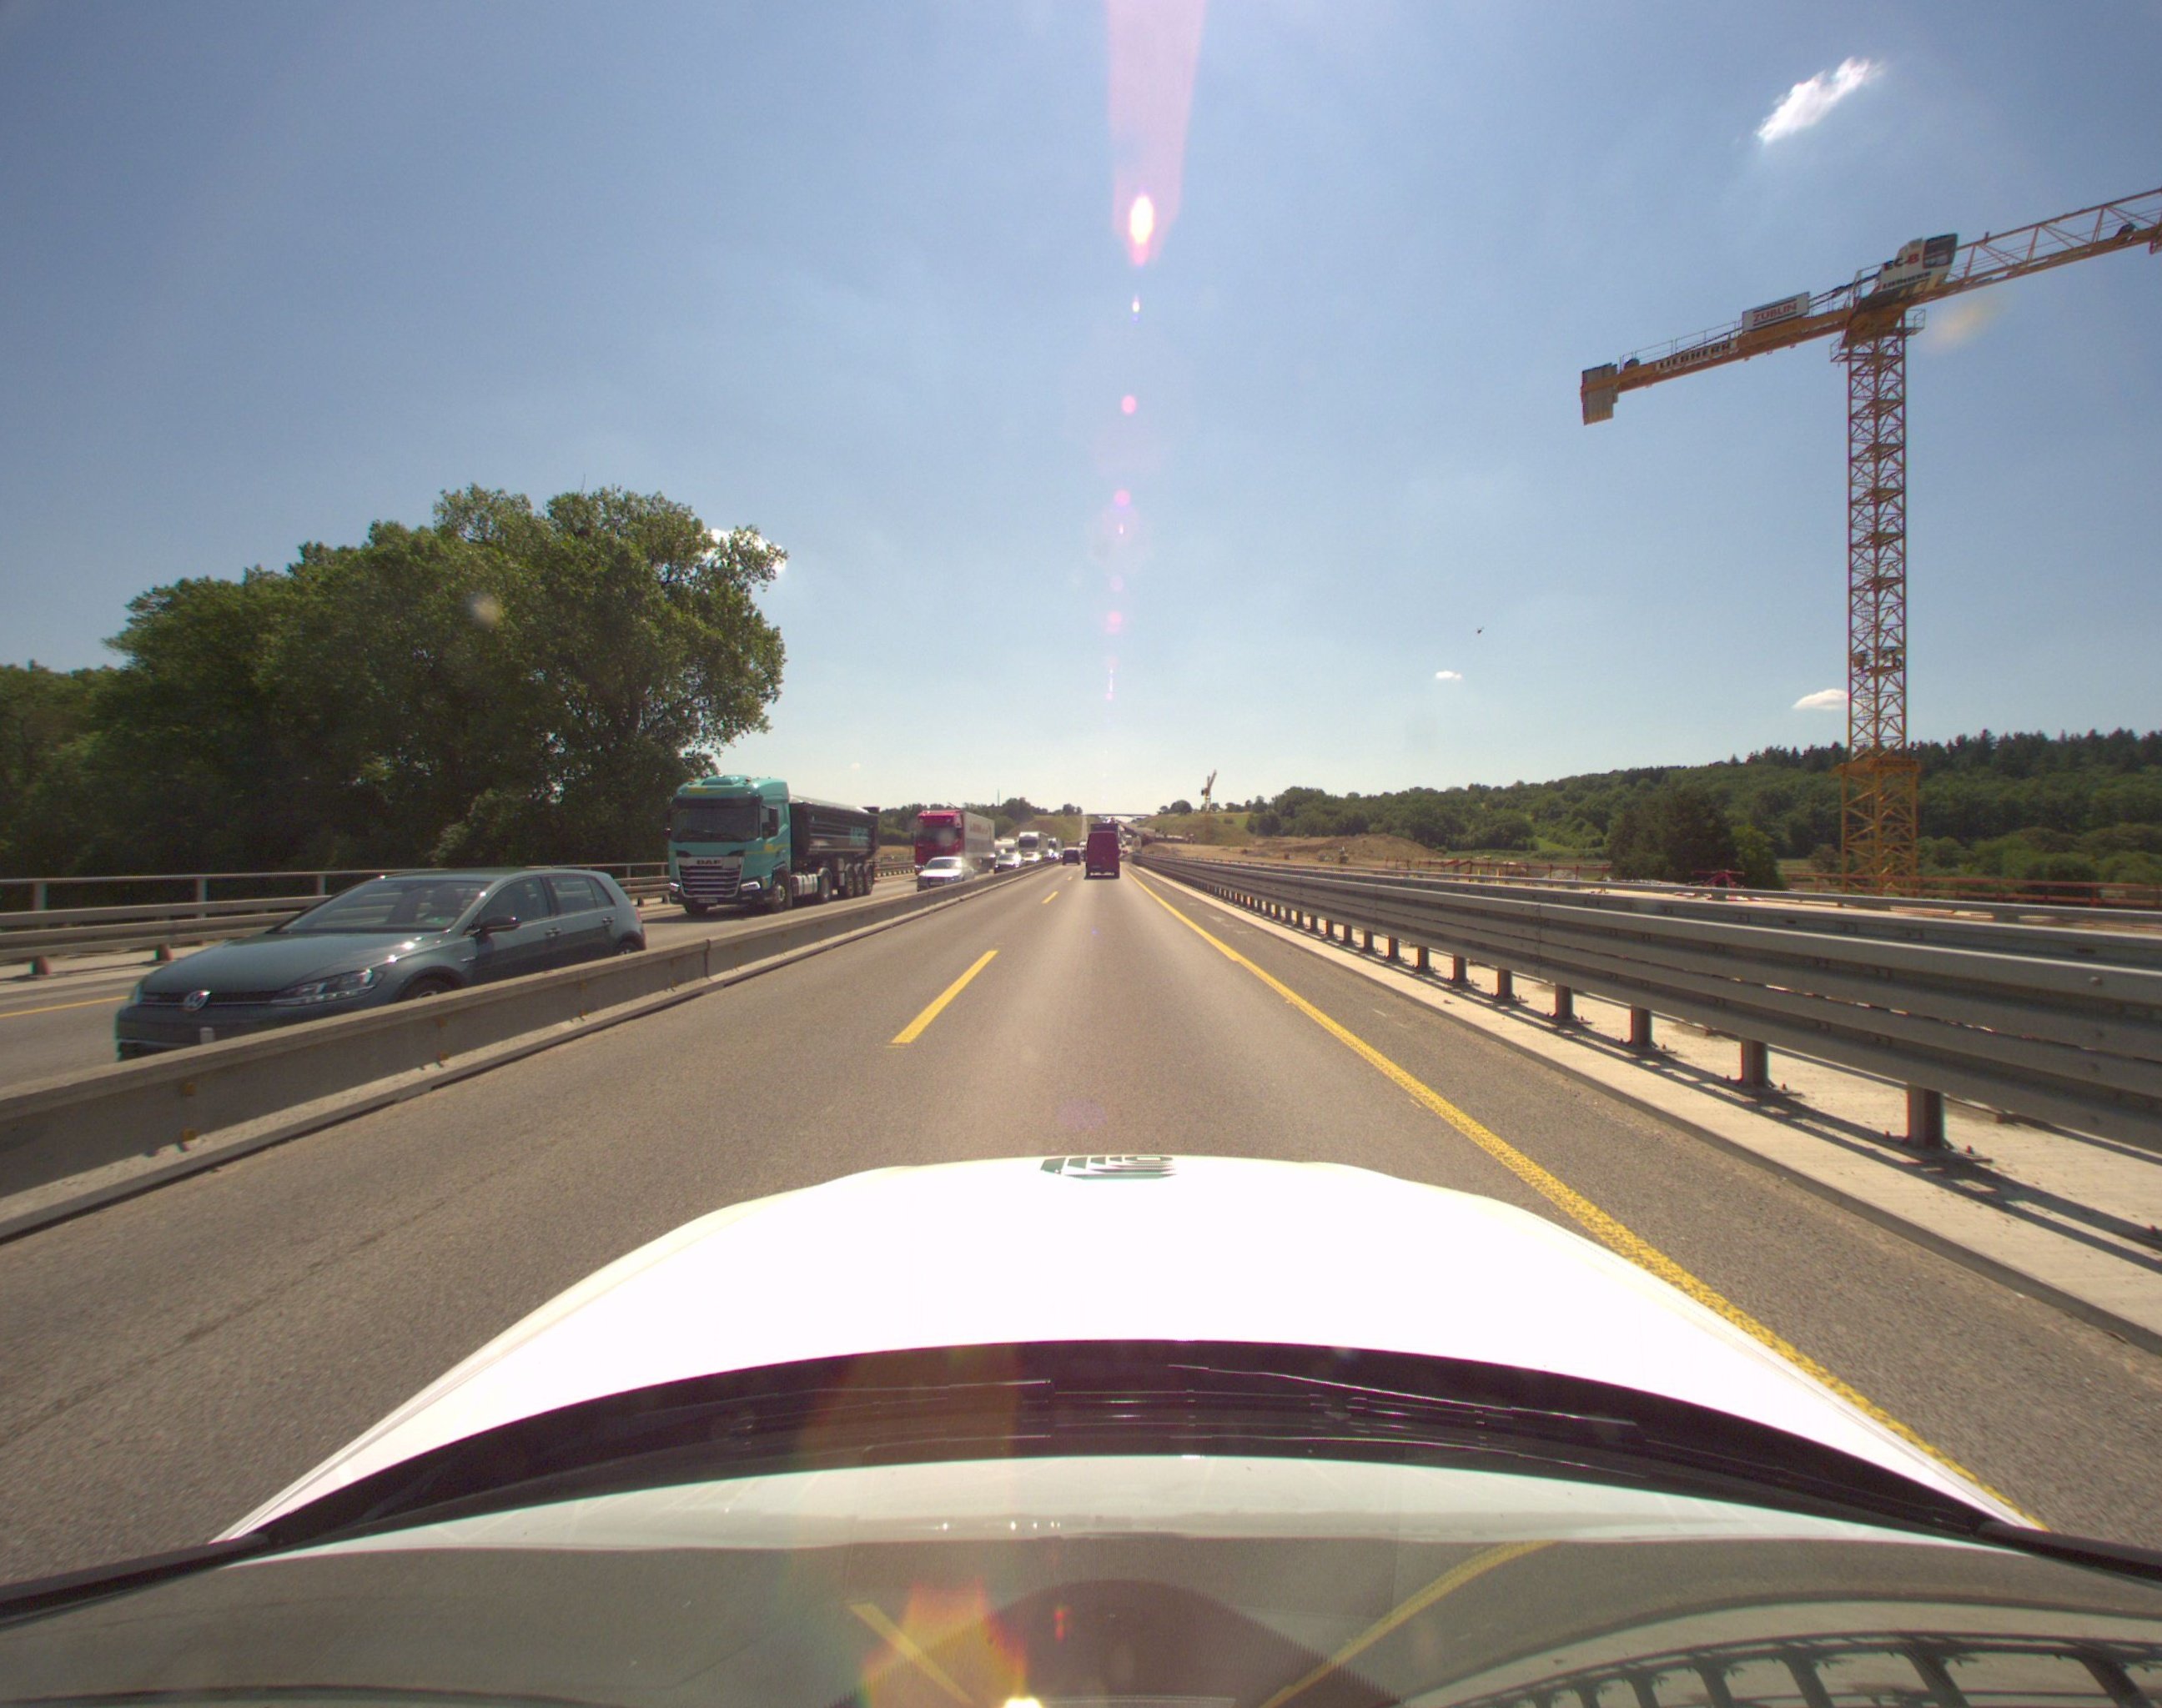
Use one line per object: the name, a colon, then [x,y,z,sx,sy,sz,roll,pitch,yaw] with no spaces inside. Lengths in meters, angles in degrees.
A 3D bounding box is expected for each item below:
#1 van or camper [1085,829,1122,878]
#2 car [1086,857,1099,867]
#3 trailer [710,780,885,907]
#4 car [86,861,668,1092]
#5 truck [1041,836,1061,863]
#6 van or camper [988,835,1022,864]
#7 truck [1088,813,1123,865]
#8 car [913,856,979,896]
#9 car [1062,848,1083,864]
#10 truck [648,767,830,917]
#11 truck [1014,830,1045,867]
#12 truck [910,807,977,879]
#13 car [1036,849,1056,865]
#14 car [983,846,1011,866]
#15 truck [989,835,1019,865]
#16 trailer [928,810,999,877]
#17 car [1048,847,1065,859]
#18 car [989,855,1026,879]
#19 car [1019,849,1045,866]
van or camper: [1.282,-0.054,47.750,2.023,2.744,4.515,0,0,0]
car: [1.910,1.277,128.956,2.005,1.545,4.133,1,0,1]
trailer: [-9.311,-0.306,28.126,2.785,3.672,8.957,-1,0,0]
car: [-5.698,0.830,7.435,1.625,1.408,4.104,-2,0,1]
truck: [-5.000,-0.690,136.179,2.795,4.392,6.229,-1,0,2]
van or camper: [-7.294,-0.478,78.973,2.493,2.698,5.247,-1,0,3]
truck: [2.340,-1.410,79.875,3.011,4.693,6.931,3,0,0]
car: [-5.302,0.833,32.591,1.775,1.379,4.711,-2,0,0]
car: [-0.850,0.171,83.645,2.005,1.545,4.132,0,0,0]
truck: [-9.382,-0.295,23.054,2.787,3.722,5.374,-1,0,1]
truck: [-6.493,-0.695,103.096,3.065,4.537,7.108,-1,0,3]
truck: [-8.163,-0.647,49.239,2.806,4.037,6.523,0,1,1]
car: [-3.793,0.306,89.160,1.841,1.688,4.619,0,0,1]
car: [-7.384,0.159,72.107,1.761,1.734,4.793,1,0,2]
truck: [-10.283,-0.568,109.198,2.893,3.764,8.371,0,1,2]
trailer: [-7.928,-0.752,56.839,2.795,4.176,11.805,0,1,2]
car: [-3.105,-0.131,102.409,1.770,1.420,4.540,1,0,2]
car: [-4.936,0.814,55.190,1.883,1.487,4.921,2,0,1]
car: [-4.479,0.284,74.926,1.893,1.461,4.197,0,1,2]
